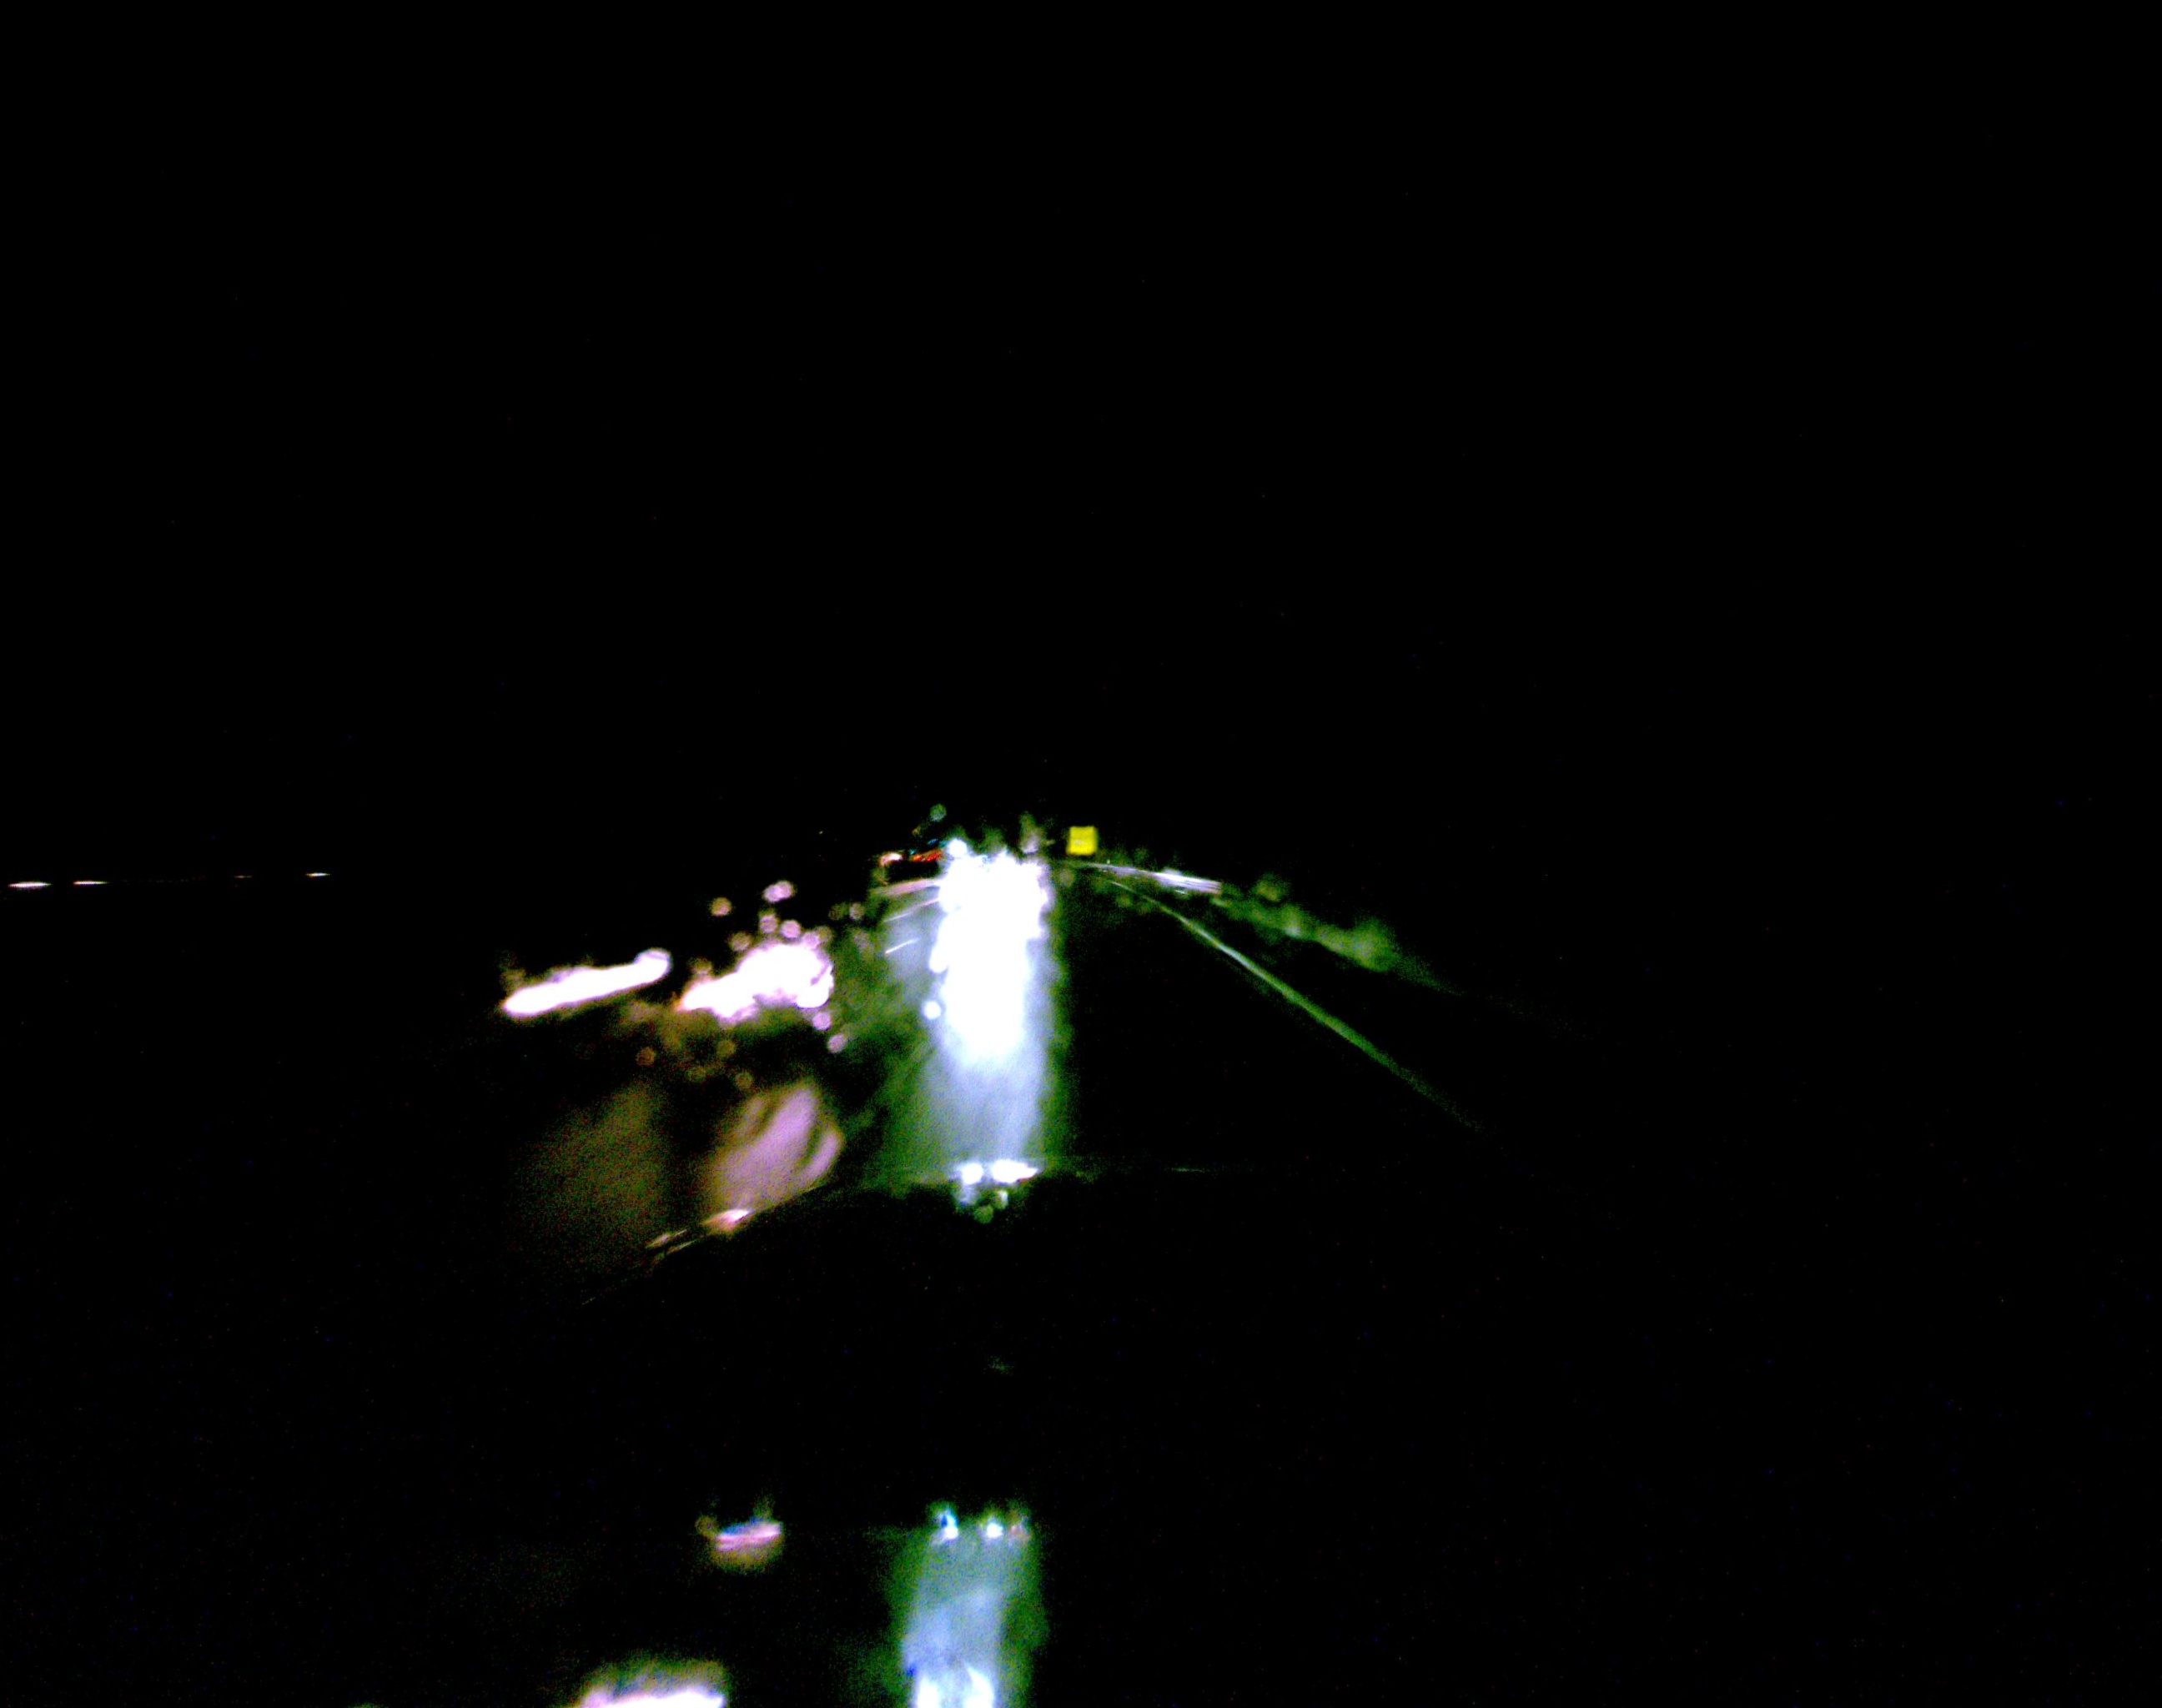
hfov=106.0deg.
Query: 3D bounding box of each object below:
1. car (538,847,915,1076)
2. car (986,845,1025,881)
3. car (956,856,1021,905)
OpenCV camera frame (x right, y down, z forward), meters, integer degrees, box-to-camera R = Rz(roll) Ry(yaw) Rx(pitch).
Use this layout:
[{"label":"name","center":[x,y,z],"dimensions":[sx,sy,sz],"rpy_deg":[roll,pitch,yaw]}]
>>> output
[{"label":"car","center":[-3.055,0.774,8.192],"dimensions":[1.782,1.623,4.377],"rpy_deg":[-2,0,1]},{"label":"car","center":[-3.796,0.454,41.518],"dimensions":[1.683,1.680,3.465],"rpy_deg":[-2,-1,-2]},{"label":"car","center":[-3.166,0.880,28.598],"dimensions":[1.811,1.560,4.177],"rpy_deg":[-1,0,0]}]
